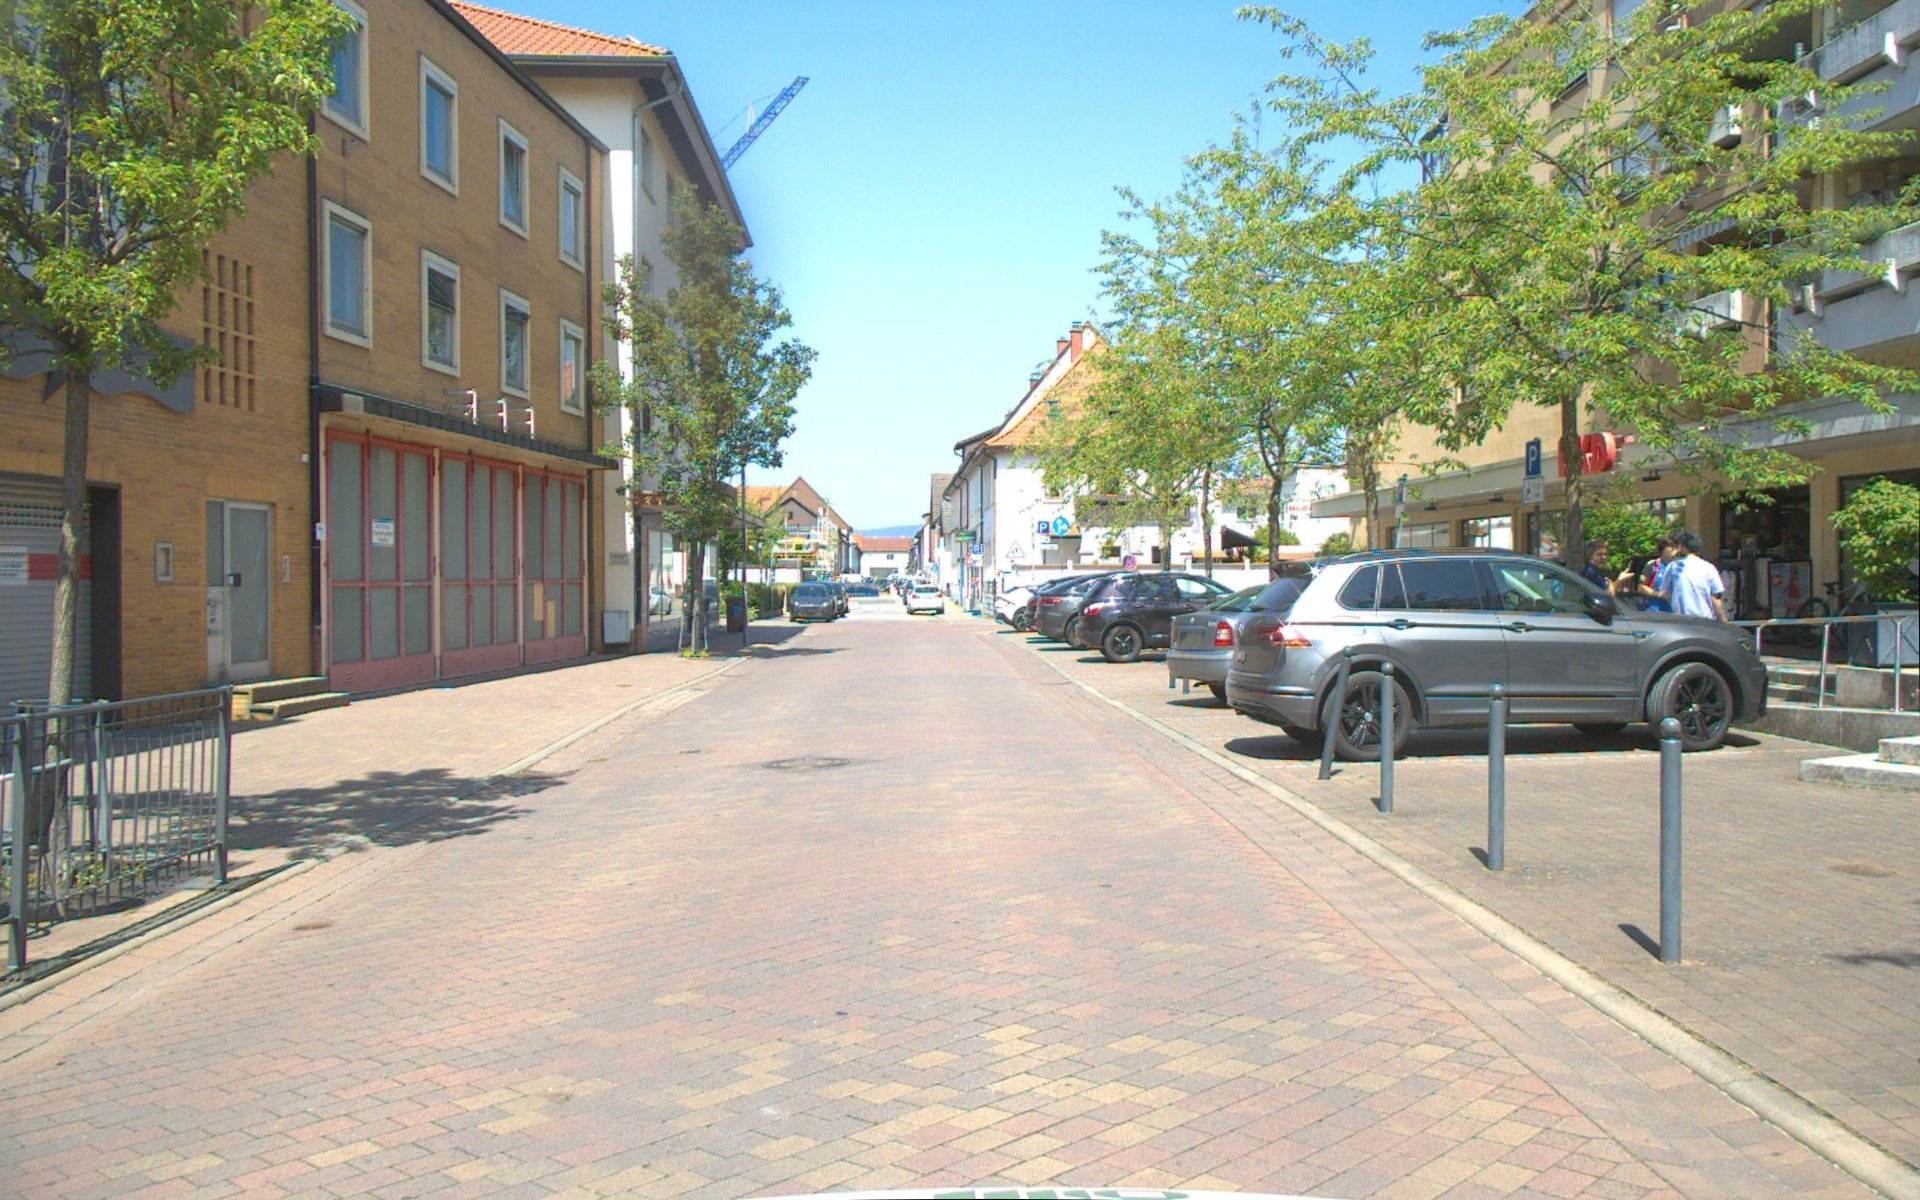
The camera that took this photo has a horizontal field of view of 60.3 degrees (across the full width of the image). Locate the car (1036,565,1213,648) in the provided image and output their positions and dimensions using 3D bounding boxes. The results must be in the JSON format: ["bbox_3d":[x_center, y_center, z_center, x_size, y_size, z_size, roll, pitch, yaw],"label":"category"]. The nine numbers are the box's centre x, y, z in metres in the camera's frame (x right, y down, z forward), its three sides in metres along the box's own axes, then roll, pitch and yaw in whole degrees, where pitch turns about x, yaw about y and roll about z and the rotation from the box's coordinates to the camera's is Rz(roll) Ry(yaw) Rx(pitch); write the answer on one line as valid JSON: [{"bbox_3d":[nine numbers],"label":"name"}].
[{"bbox_3d":[3.388,0.124,34.487,3.451,1.653,1.710,-1,0,-3],"label":"car"}]

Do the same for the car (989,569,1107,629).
[{"bbox_3d":[2.692,-0.045,50.972,3.412,1.730,1.534,-2,0,-7],"label":"car"}]

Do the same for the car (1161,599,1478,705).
[{"bbox_3d":[4.212,0.585,19.567,3.454,1.161,1.272,-1,0,-6],"label":"car"}]

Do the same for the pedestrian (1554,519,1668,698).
[{"bbox_3d":[6.800,0.071,17.307,0.822,1.818,0.805,-1,1,-8],"label":"pedestrian"}]

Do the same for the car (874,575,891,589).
[{"bbox_3d":[-8.641,-2.006,184.313,1.711,1.506,3.629,0,2,-1],"label":"car"}]

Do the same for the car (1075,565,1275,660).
[{"bbox_3d":[3.957,0.226,30.816,3.451,1.684,1.710,-1,0,-3],"label":"car"}]

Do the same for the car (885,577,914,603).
[{"bbox_3d":[-3.816,-0.630,104.355,1.711,1.506,3.629,0,2,-1],"label":"car"}]

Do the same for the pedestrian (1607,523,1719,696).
[{"bbox_3d":[7.607,0.089,17.930,0.822,1.818,0.805,-1,1,-8],"label":"pedestrian"}]

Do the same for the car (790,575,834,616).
[{"bbox_3d":[-5.875,-0.196,65.789,1.477,1.526,3.826,0,2,-1],"label":"car"}]

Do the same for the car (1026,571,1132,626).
[{"bbox_3d":[3.868,-0.056,54.084,3.280,1.745,1.469,-1,0,-3],"label":"car"}]

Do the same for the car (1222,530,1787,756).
[{"bbox_3d":[4.404,0.315,13.729,4.159,1.643,1.557,-2,1,-3],"label":"car"}]

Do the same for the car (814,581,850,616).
[{"bbox_3d":[-6.015,-0.100,77.745,1.477,1.526,3.826,0,2,-1],"label":"car"}]

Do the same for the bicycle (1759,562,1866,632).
[{"bbox_3d":[12.018,-0.035,23.370,0.613,0.941,1.727,0,0,-1],"label":"bicycle"}]

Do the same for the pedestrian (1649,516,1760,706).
[{"bbox_3d":[7.310,0.098,16.272,0.819,1.818,0.807,0,1,11],"label":"pedestrian"}]

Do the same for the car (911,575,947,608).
[{"bbox_3d":[-1.607,-0.458,84.768,1.794,1.558,3.945,0,2,-1],"label":"car"}]
